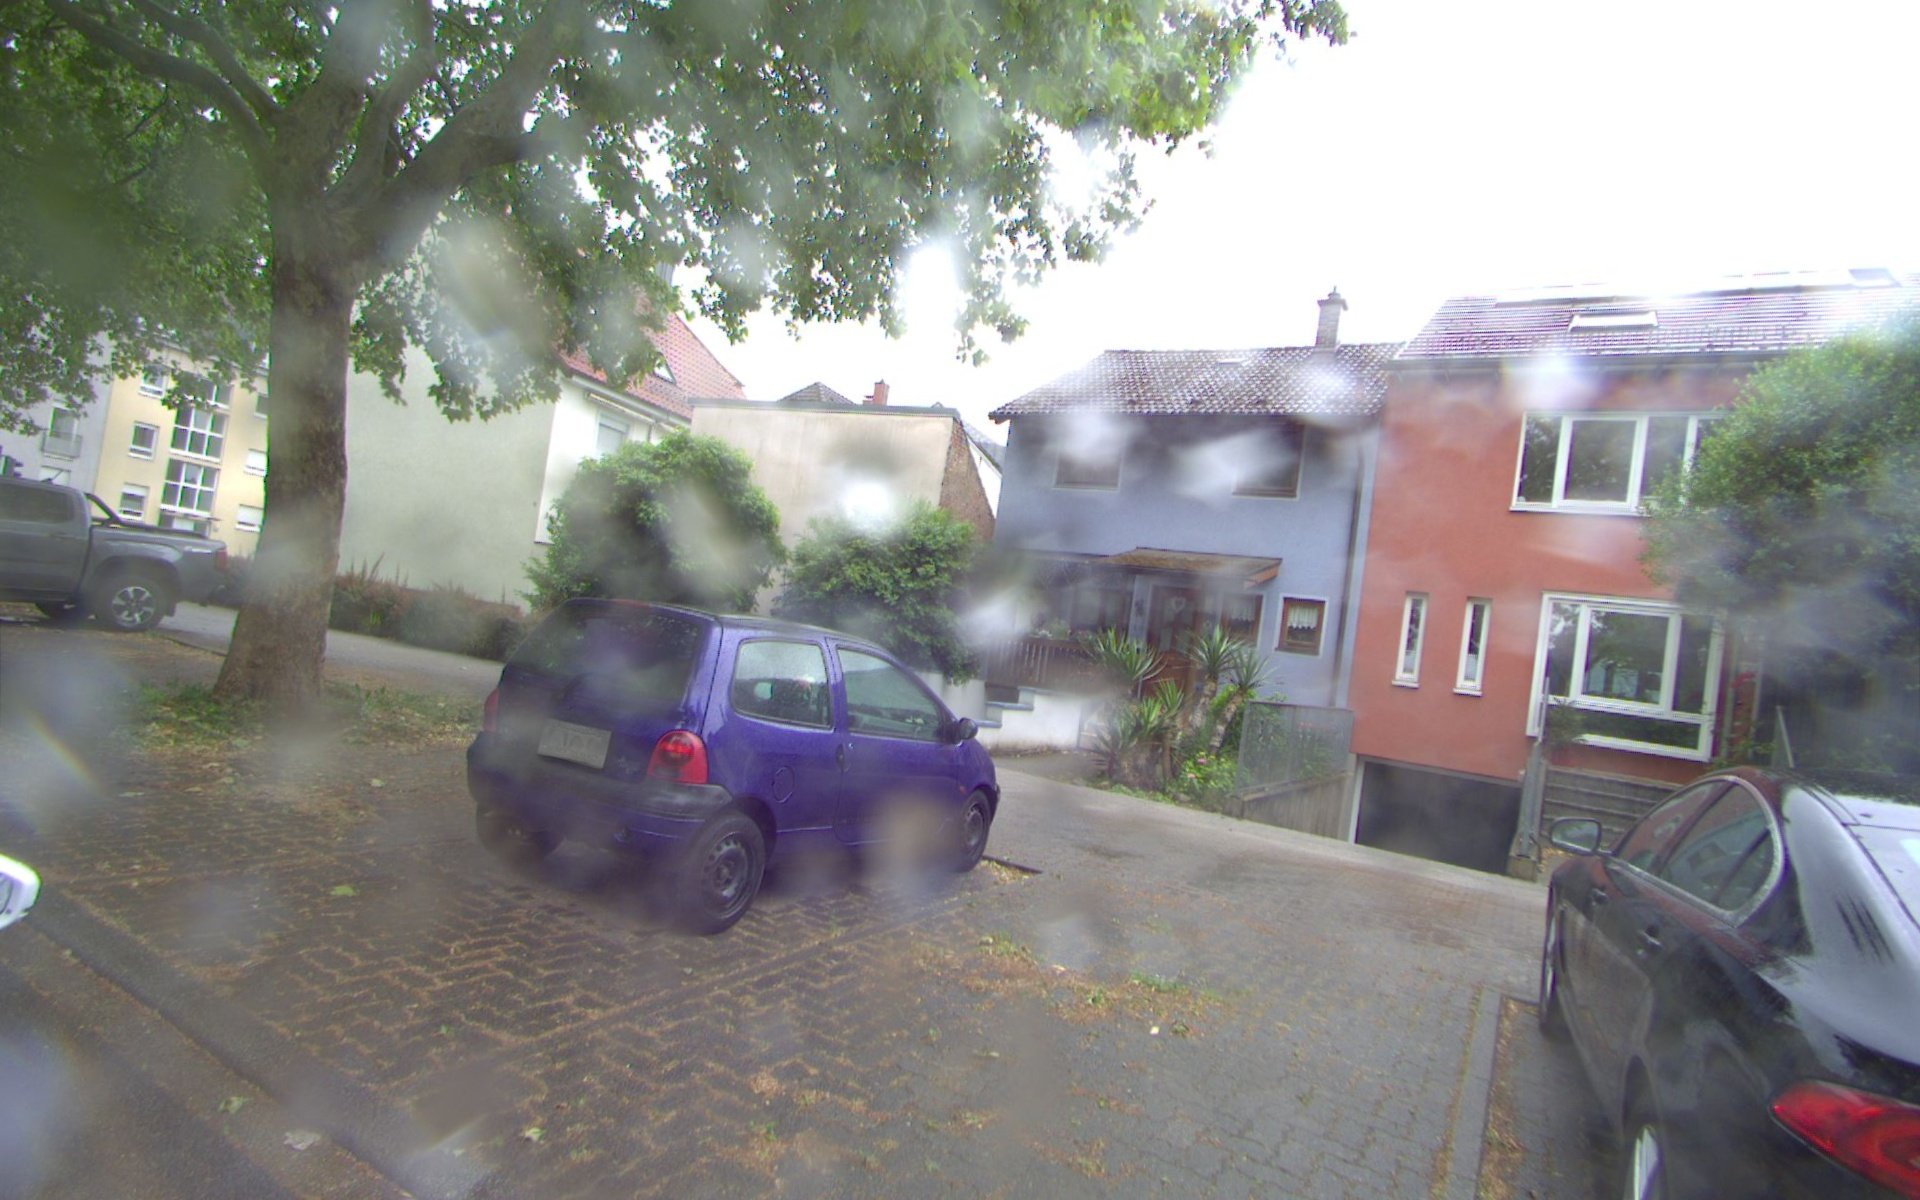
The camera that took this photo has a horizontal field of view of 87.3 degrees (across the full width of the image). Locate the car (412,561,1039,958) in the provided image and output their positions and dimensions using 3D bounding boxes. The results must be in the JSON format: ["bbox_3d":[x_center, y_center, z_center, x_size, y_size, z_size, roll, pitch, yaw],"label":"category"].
[{"bbox_3d":[-1.053,0.812,5.932,1.591,1.480,3.364,7,-3,30],"label":"car"}]

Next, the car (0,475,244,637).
[{"bbox_3d":[-12.347,-0.674,12.467,1.812,1.828,5.354,7,-1,25],"label":"car"}]

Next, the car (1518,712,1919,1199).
[{"bbox_3d":[2.964,1.238,2.974,1.903,1.489,4.781,7,-2,27],"label":"car"}]
